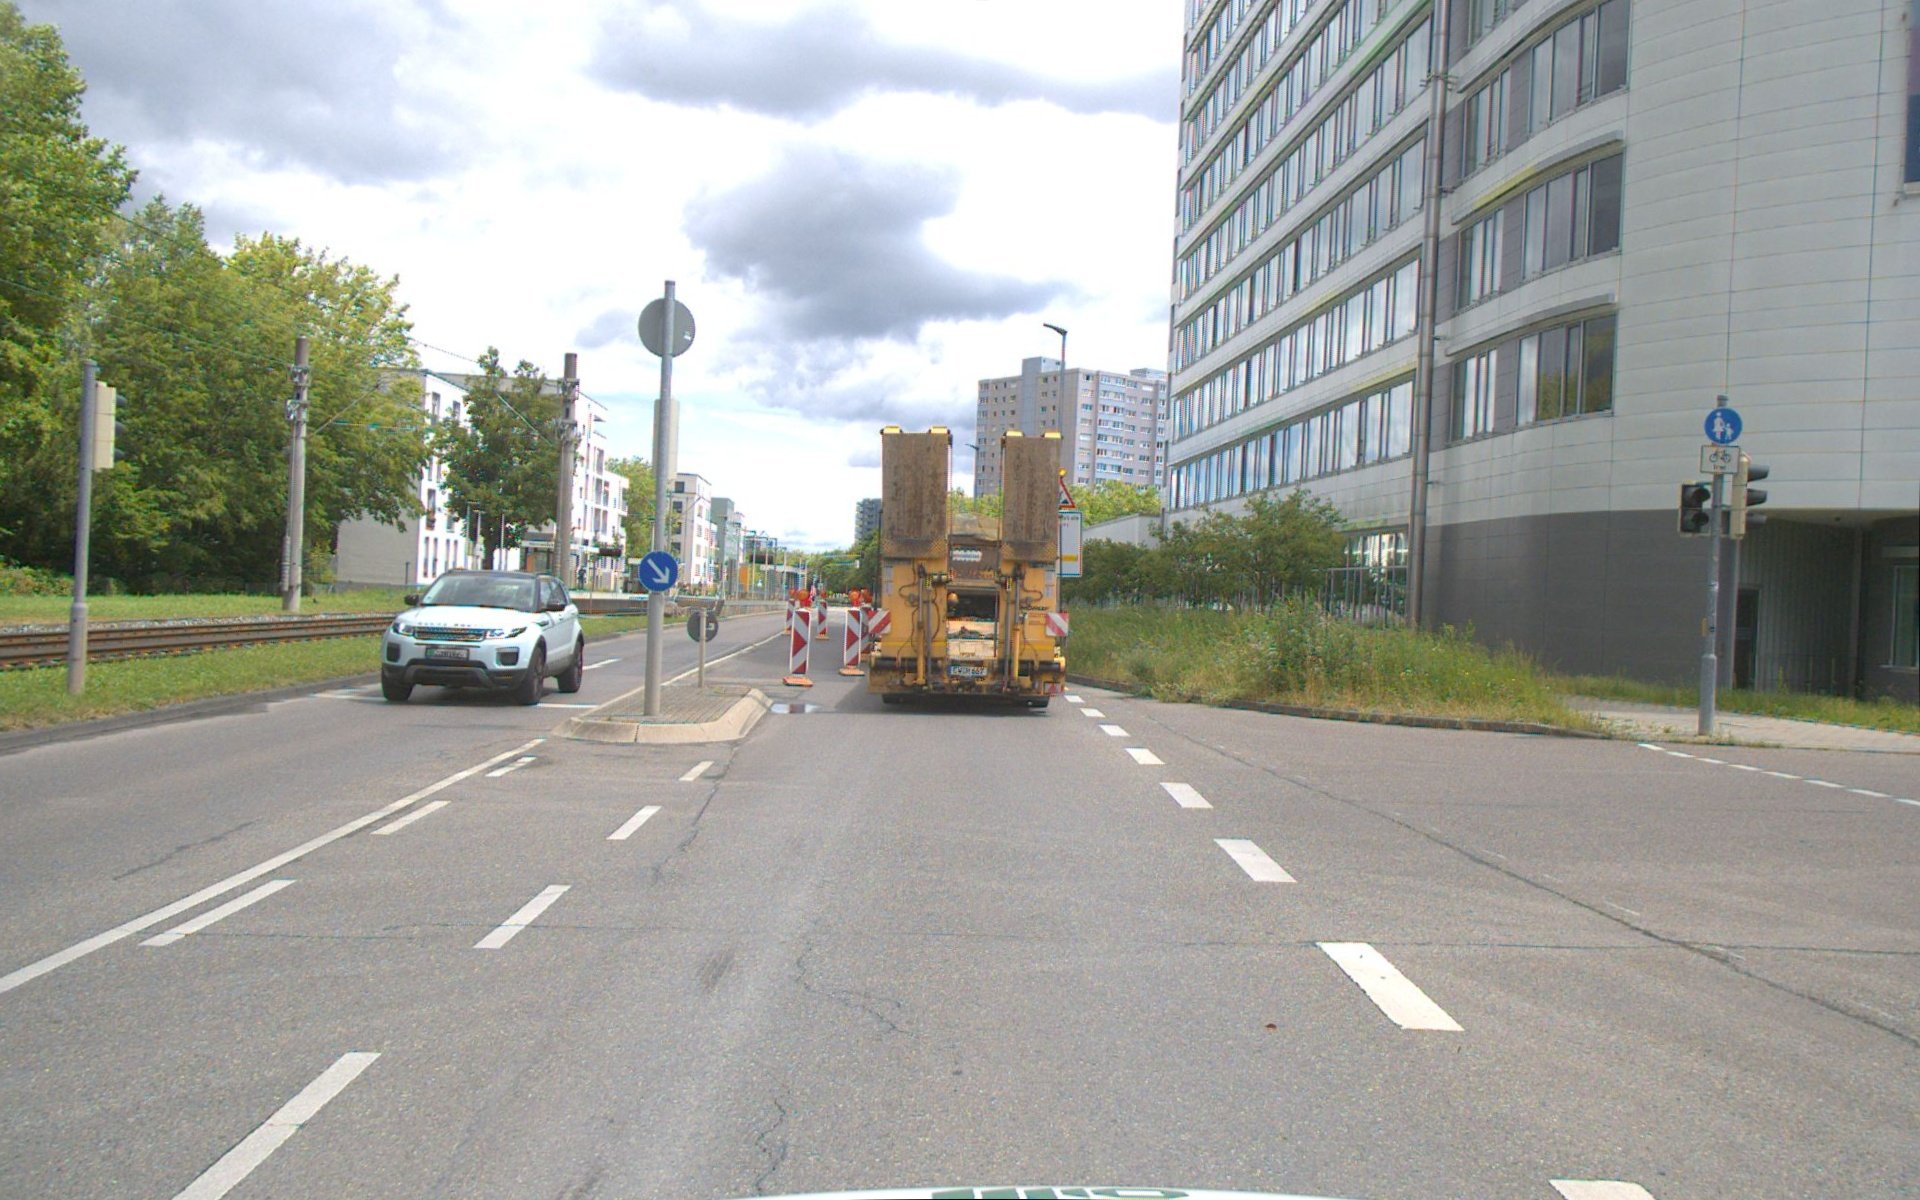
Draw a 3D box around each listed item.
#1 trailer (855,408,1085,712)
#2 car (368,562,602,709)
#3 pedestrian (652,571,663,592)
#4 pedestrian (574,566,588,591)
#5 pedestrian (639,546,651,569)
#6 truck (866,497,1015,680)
[{"bbox_3d":[-0.131,-0.473,25.990,2.675,3.621,11.247,3,0,-3],"label":"trailer"},{"bbox_3d":[-6.055,0.423,21.673,1.823,1.638,4.605,3,0,-2],"label":"car"},{"bbox_3d":[-23.910,-1.463,130.632,0.478,1.624,0.676,2,-1,32],"label":"pedestrian"},{"bbox_3d":[-24.078,-1.349,105.085,0.726,1.558,0.547,3,-1,0],"label":"pedestrian"},{"bbox_3d":[-24.481,-3.310,128.452,0.663,1.755,0.488,4,-1,31],"label":"pedestrian"},{"bbox_3d":[-0.543,-0.207,35.797,2.698,3.371,8.347,3,0,-2],"label":"truck"}]
